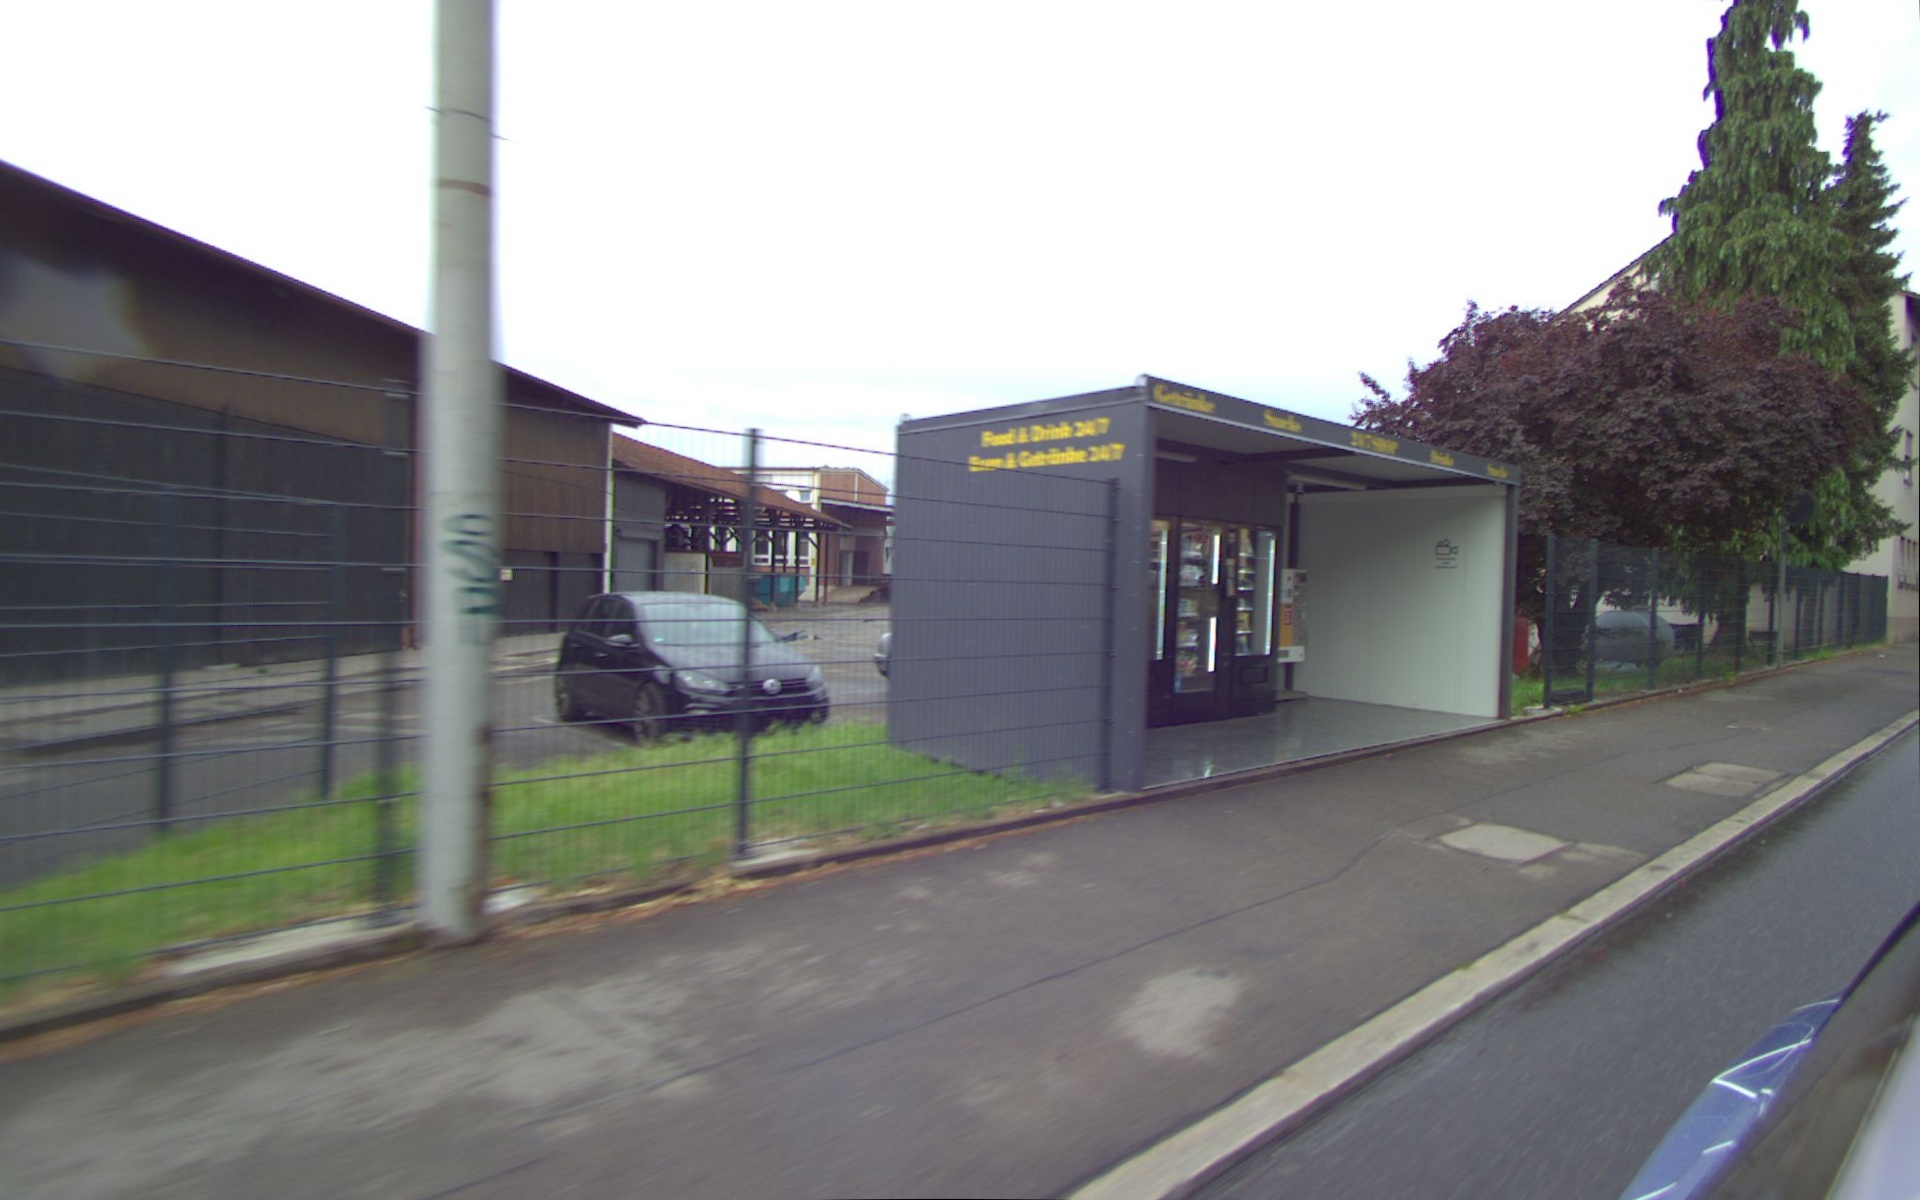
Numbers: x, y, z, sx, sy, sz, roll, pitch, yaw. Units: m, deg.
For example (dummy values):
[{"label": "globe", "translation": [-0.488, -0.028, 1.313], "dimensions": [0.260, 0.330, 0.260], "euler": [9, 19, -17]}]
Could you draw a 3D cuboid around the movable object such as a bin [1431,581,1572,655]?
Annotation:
[{"label": "movable object such as a bin", "translation": [13.593, 0.421, 25.441], "dimensions": [2.049, 1.738, 2.619], "euler": [0, 0, -43]}]

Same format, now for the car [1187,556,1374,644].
[{"label": "car", "translation": [9.159, -0.097, 29.240], "dimensions": [1.966, 2.298, 4.830], "euler": [-2, 3, -41]}]

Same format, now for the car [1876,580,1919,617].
[{"label": "car", "translation": [48.368, -0.090, 50.060], "dimensions": [1.965, 1.790, 4.310], "euler": [-2, 2, -40]}]

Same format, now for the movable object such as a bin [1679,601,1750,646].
[{"label": "movable object such as a bin", "translation": [20.966, 0.660, 28.132], "dimensions": [1.196, 1.196, 1.330], "euler": [1, -3, -41]}]

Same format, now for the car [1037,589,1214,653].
[{"label": "car", "translation": [4.235, 0.492, 26.431], "dimensions": [1.770, 1.441, 4.358], "euler": [0, 1, -45]}]

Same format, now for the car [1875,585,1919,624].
[{"label": "car", "translation": [45.033, 0.187, 46.604], "dimensions": [1.837, 1.758, 4.074], "euler": [-2, 1, -40]}]

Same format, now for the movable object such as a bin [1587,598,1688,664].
[{"label": "movable object such as a bin", "translation": [14.947, 0.636, 22.279], "dimensions": [1.370, 1.336, 2.814], "euler": [0, 0, 44]}]

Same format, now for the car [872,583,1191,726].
[{"label": "car", "translation": [0.813, 0.592, 13.873], "dimensions": [1.763, 1.549, 4.385], "euler": [-1, 3, -42]}]

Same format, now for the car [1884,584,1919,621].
[{"label": "car", "translation": [46.723, 0.096, 48.124], "dimensions": [1.760, 1.746, 3.956], "euler": [-1, 1, -40]}]

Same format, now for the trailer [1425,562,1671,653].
[{"label": "trailer", "translation": [15.785, 0.137, 27.443], "dimensions": [2.011, 2.214, 5.429], "euler": [-2, 1, -41]}]

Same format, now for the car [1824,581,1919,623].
[{"label": "car", "translation": [40.546, 0.063, 44.035], "dimensions": [1.837, 1.758, 4.236], "euler": [-2, 1, -40]}]

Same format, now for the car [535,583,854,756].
[{"label": "car", "translation": [-2.959, 0.571, 10.699], "dimensions": [1.753, 1.441, 3.995], "euler": [-2, 1, -39]}]

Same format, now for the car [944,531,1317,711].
[{"label": "car", "translation": [2.324, 0.201, 15.343], "dimensions": [1.966, 2.238, 5.576], "euler": [0, 1, -42]}]

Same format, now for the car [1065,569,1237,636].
[{"label": "car", "translation": [5.433, -0.014, 29.250], "dimensions": [1.968, 1.714, 4.599], "euler": [-2, 3, -45]}]
